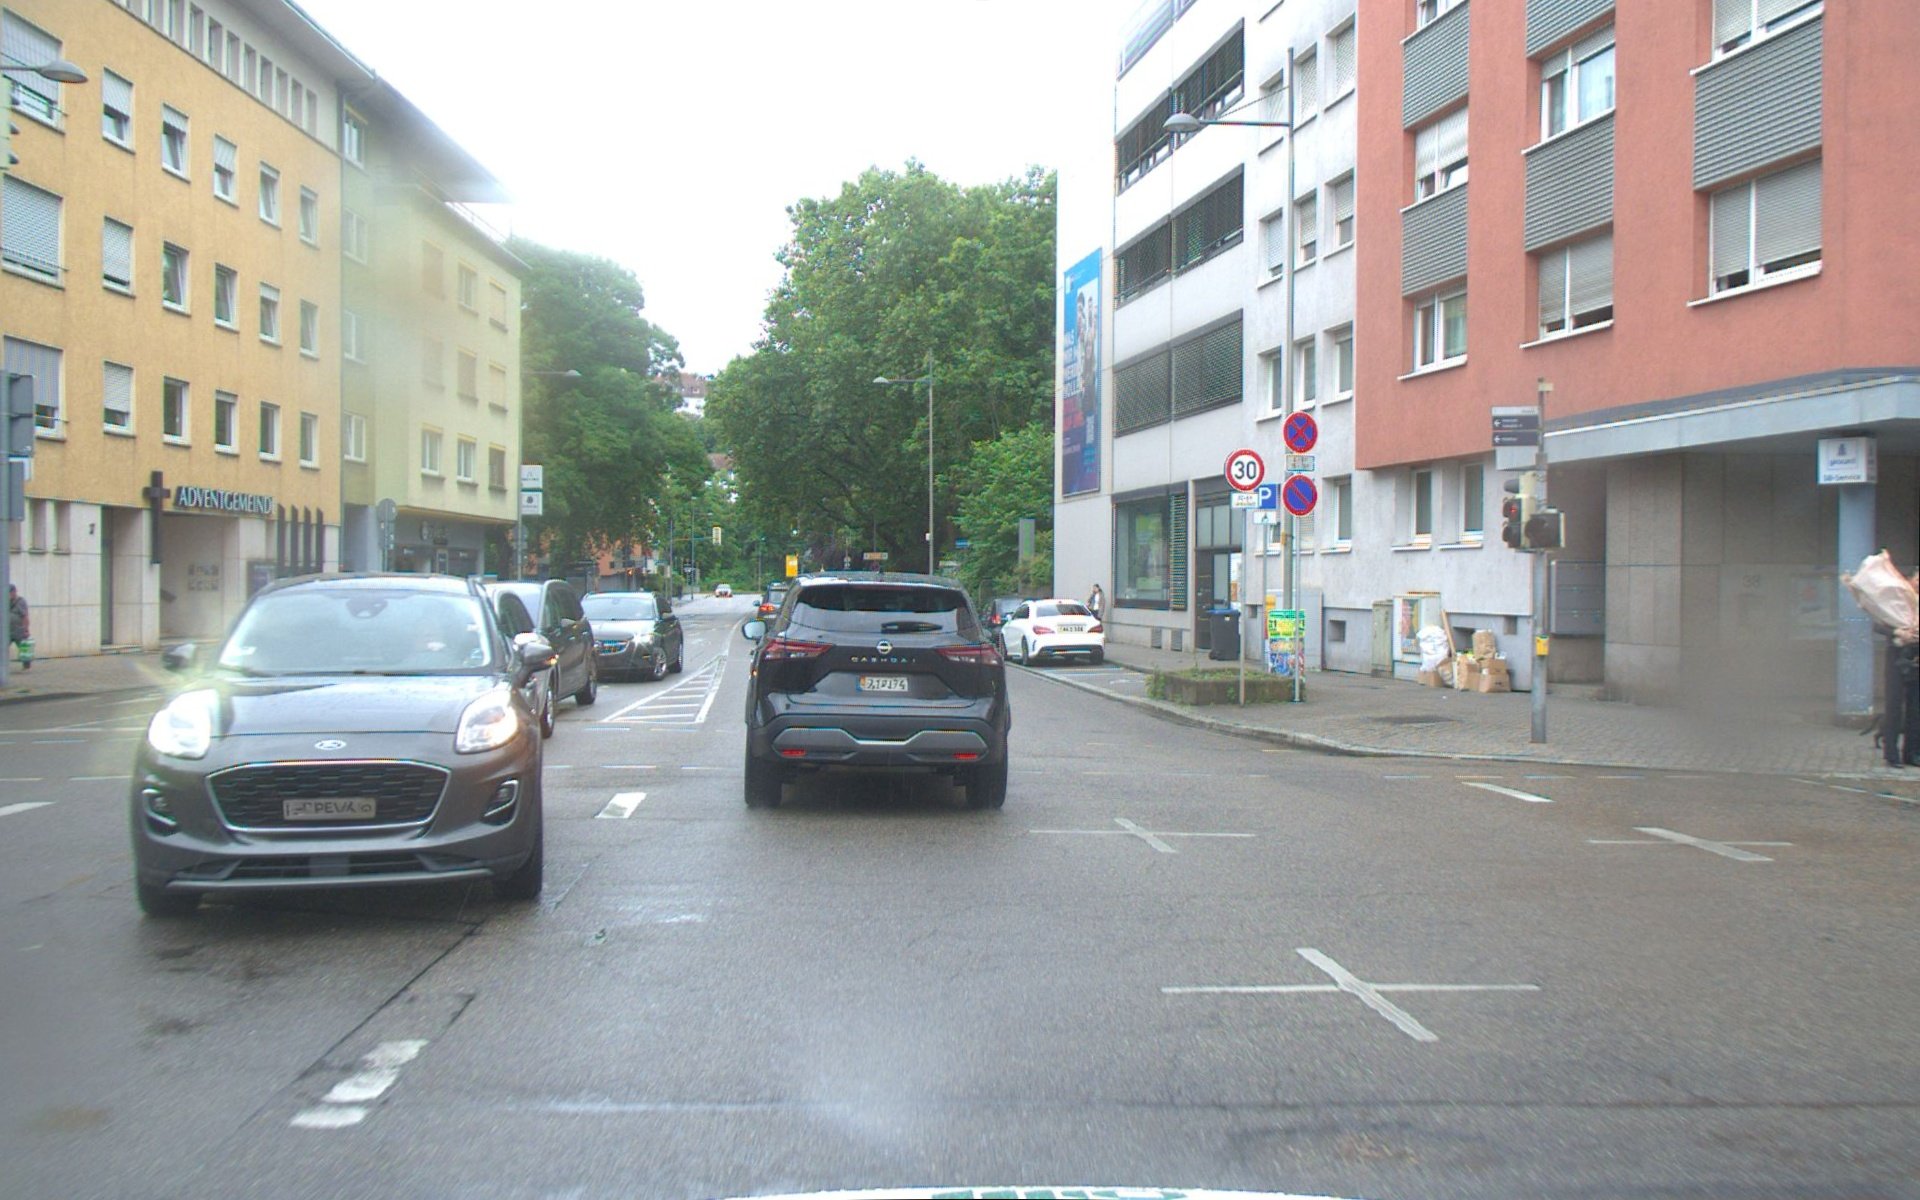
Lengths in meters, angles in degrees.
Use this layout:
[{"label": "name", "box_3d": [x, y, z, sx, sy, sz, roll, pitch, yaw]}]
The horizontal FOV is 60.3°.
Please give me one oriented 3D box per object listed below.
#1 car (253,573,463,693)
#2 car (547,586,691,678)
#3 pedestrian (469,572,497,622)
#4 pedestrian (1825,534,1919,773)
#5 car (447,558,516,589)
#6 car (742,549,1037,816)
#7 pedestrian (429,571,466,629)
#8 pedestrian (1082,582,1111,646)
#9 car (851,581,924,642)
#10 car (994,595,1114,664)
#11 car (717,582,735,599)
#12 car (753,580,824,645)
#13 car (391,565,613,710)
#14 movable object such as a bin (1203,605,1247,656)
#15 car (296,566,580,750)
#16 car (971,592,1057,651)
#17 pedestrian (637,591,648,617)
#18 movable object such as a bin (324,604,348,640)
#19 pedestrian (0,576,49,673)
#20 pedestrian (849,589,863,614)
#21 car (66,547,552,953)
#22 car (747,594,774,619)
[{"label": "car", "box_3d": [-9.011, 0.488, 25.157, 1.784, 1.668, 4.370, 0, -1, -3]}, {"label": "car", "box_3d": [-5.785, 0.545, 28.537, 1.784, 1.459, 4.395, 0, -1, -3]}, {"label": "pedestrian", "box_3d": [-16.636, -0.108, 57.689, 0.783, 1.718, 0.816, 1, 0, -8]}, {"label": "pedestrian", "box_3d": [8.858, 0.498, 15.702, 0.808, 2.196, 0.769, 2, 0, -1]}, {"label": "car", "box_3d": [-29.274, -1.617, 101.300, 3.762, 1.764, 1.876, 2, 0, -9]}, {"label": "car", "box_3d": [-0.675, 0.524, 12.397, 1.858, 1.657, 3.993, 0, 0, -7]}, {"label": "pedestrian", "box_3d": [-16.659, 0.011, 53.820, 0.848, 1.819, 0.875, 3, 0, -1]}, {"label": "pedestrian", "box_3d": [3.810, 0.388, 46.141, 0.602, 1.767, 0.678, -1, 0, -14]}, {"label": "car", "box_3d": [-2.396, 0.371, 53.632, 1.910, 1.848, 3.992, -1, -1, -9]}, {"label": "car", "box_3d": [2.051, 0.612, 37.549, 1.742, 1.426, 4.569, -1, 0, -10]}, {"label": "car", "box_3d": [-26.867, -1.105, 189.857, 1.786, 1.827, 3.861, 2, 0, -6]}, {"label": "car", "box_3d": [-4.874, 0.369, 47.047, 1.908, 1.714, 3.995, -1, -1, -6]}, {"label": "car", "box_3d": [-5.625, 0.457, 20.872, 1.784, 1.637, 4.427, 0, -1, -3]}, {"label": "movable object such as a bin", "box_3d": [5.724, 0.654, 35.762, 0.700, 1.087, 0.781, 0, 0, -14]}, {"label": "car", "box_3d": [-4.921, 0.527, 16.186, 1.897, 1.553, 4.128, 0, -1, -7]}, {"label": "car", "box_3d": [1.388, 0.538, 43.945, 1.682, 1.467, 4.076, -1, 0, -6]}, {"label": "pedestrian", "box_3d": [-22.575, 0.261, 117.688, 0.655, 1.822, 0.719, 2, 0, -14]}, {"label": "movable object such as a bin", "box_3d": [-16.971, 0.594, 44.993, 0.445, 0.946, 0.502, 1, 0, 0]}, {"label": "pedestrian", "box_3d": [-16.115, 0.405, 28.236, 0.673, 1.609, 0.652, 3, 0, 0]}, {"label": "pedestrian", "box_3d": [-7.746, 0.104, 122.664, 0.708, 1.822, 0.665, 2, 0, 41]}, {"label": "car", "box_3d": [-3.104, 0.559, 8.706, 1.825, 1.580, 4.210, 0, 1, -14]}, {"label": "car", "box_3d": [-13.966, 0.468, 115.767, 1.786, 1.640, 3.860, 2, 0, -7]}]
